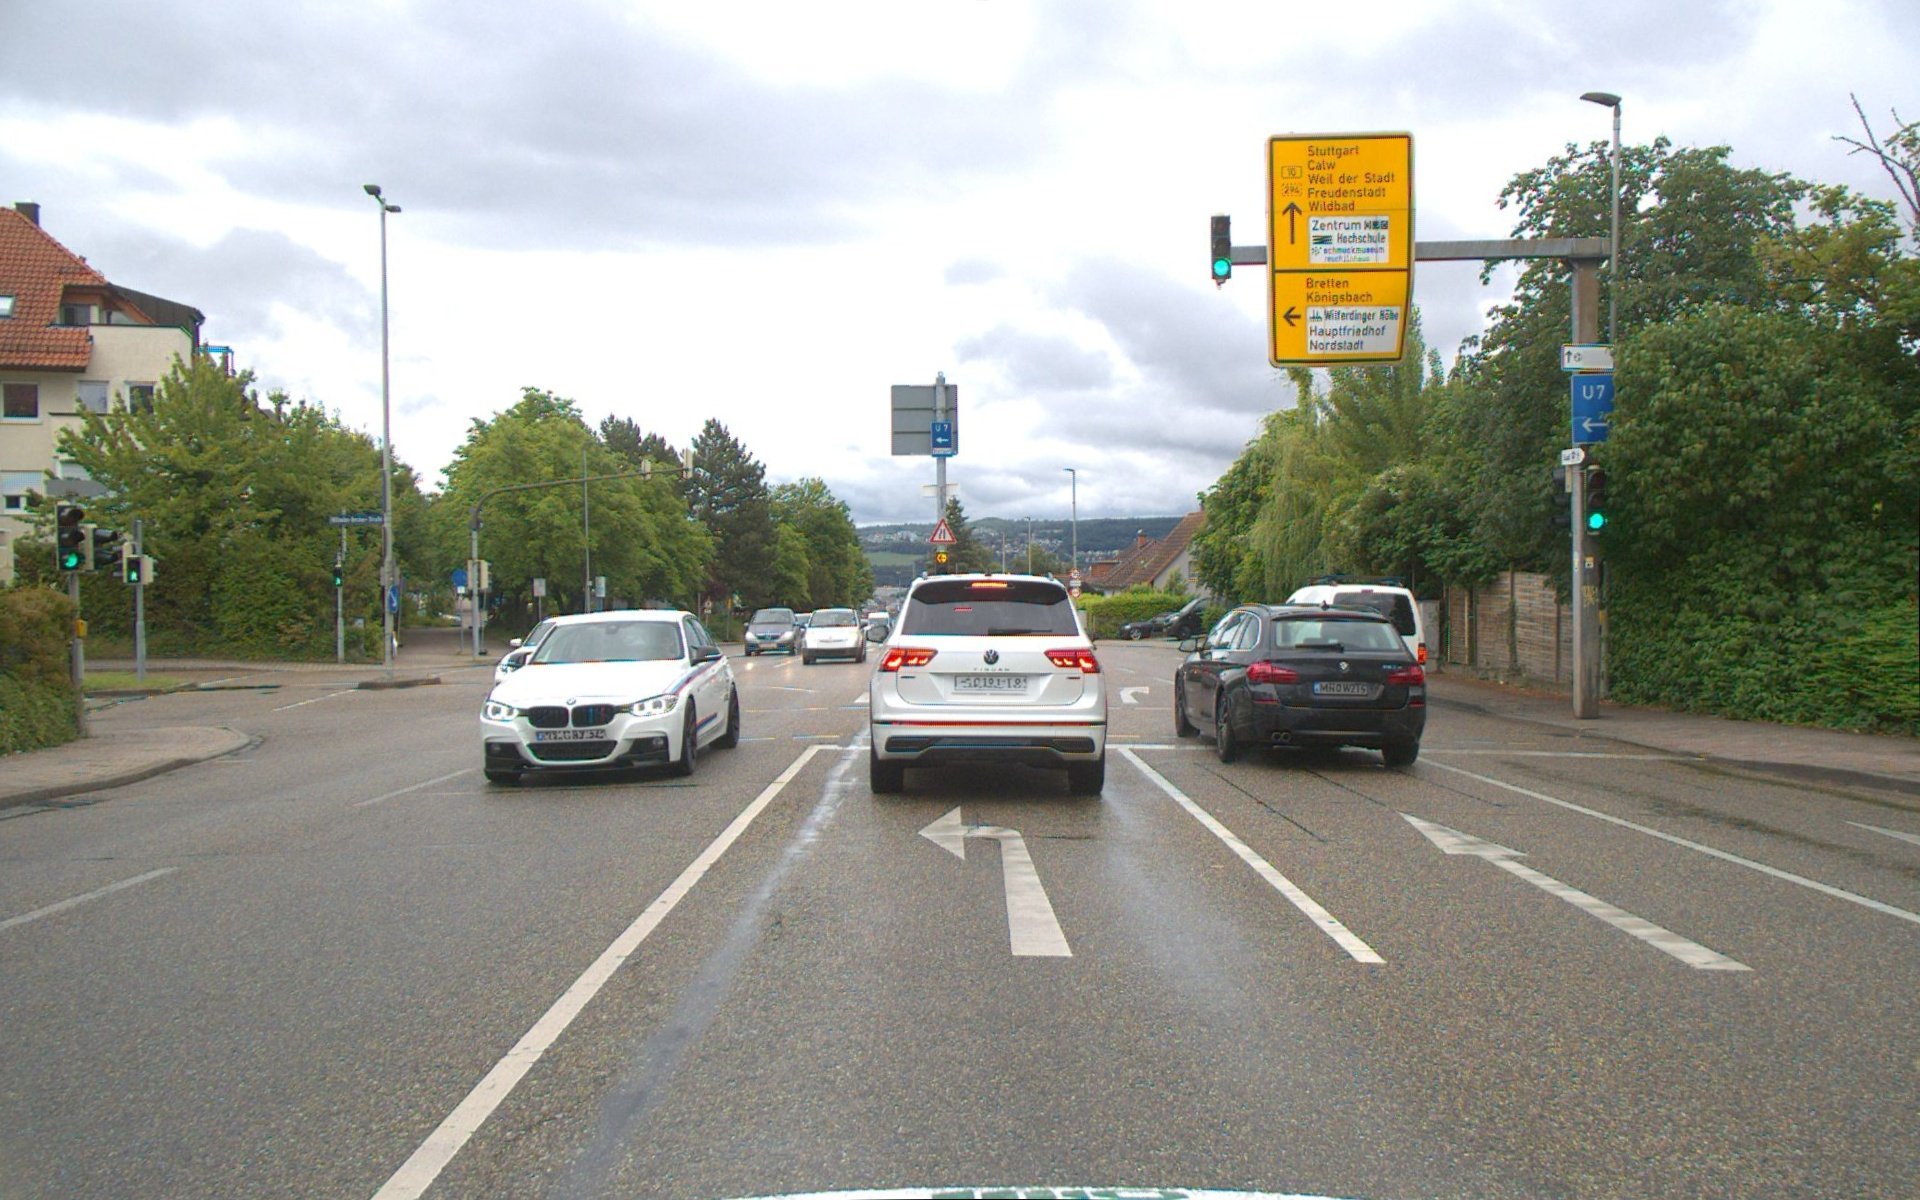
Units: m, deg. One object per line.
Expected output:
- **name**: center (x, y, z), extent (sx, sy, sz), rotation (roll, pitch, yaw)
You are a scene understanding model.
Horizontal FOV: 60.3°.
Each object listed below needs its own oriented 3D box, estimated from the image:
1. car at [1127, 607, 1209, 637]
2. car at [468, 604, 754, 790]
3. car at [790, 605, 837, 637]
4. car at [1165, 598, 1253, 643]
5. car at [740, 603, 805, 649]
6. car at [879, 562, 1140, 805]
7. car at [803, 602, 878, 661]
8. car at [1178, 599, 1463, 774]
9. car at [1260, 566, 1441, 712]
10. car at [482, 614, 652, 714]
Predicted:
- **car**: center (10.217, 1.063, 81.532), extent (3.903, 1.400, 1.586), rotation (1, 0, 3)
- **car**: center (-3.126, 0.801, 15.723), extent (1.713, 1.409, 4.411), rotation (-2, 0, 0)
- **car**: center (-6.423, 0.911, 72.727), extent (1.616, 1.295, 3.621), rotation (-1, 0, 1)
- **car**: center (11.522, 0.936, 76.691), extent (3.903, 1.990, 1.586), rotation (1, 0, 3)
- **car**: center (-6.554, 0.883, 58.186), extent (1.738, 1.484, 4.549), rotation (-1, 0, 0)
- **car**: center (0.334, 0.603, 13.642), extent (1.830, 1.703, 3.999), rotation (0, 0, -1)
- **car**: center (-3.264, 0.829, 45.785), extent (1.738, 1.484, 4.549), rotation (-1, 0, 0)
- **car**: center (3.386, 0.796, 16.318), extent (1.860, 1.467, 3.999), rotation (2, -1, -1)
- **car**: center (5.735, 0.500, 24.729), extent (1.729, 1.909, 3.805), rotation (0, 3, -1)
- **car**: center (-6.362, 0.986, 27.280), extent (1.738, 1.409, 4.548), rotation (-1, 0, -1)
